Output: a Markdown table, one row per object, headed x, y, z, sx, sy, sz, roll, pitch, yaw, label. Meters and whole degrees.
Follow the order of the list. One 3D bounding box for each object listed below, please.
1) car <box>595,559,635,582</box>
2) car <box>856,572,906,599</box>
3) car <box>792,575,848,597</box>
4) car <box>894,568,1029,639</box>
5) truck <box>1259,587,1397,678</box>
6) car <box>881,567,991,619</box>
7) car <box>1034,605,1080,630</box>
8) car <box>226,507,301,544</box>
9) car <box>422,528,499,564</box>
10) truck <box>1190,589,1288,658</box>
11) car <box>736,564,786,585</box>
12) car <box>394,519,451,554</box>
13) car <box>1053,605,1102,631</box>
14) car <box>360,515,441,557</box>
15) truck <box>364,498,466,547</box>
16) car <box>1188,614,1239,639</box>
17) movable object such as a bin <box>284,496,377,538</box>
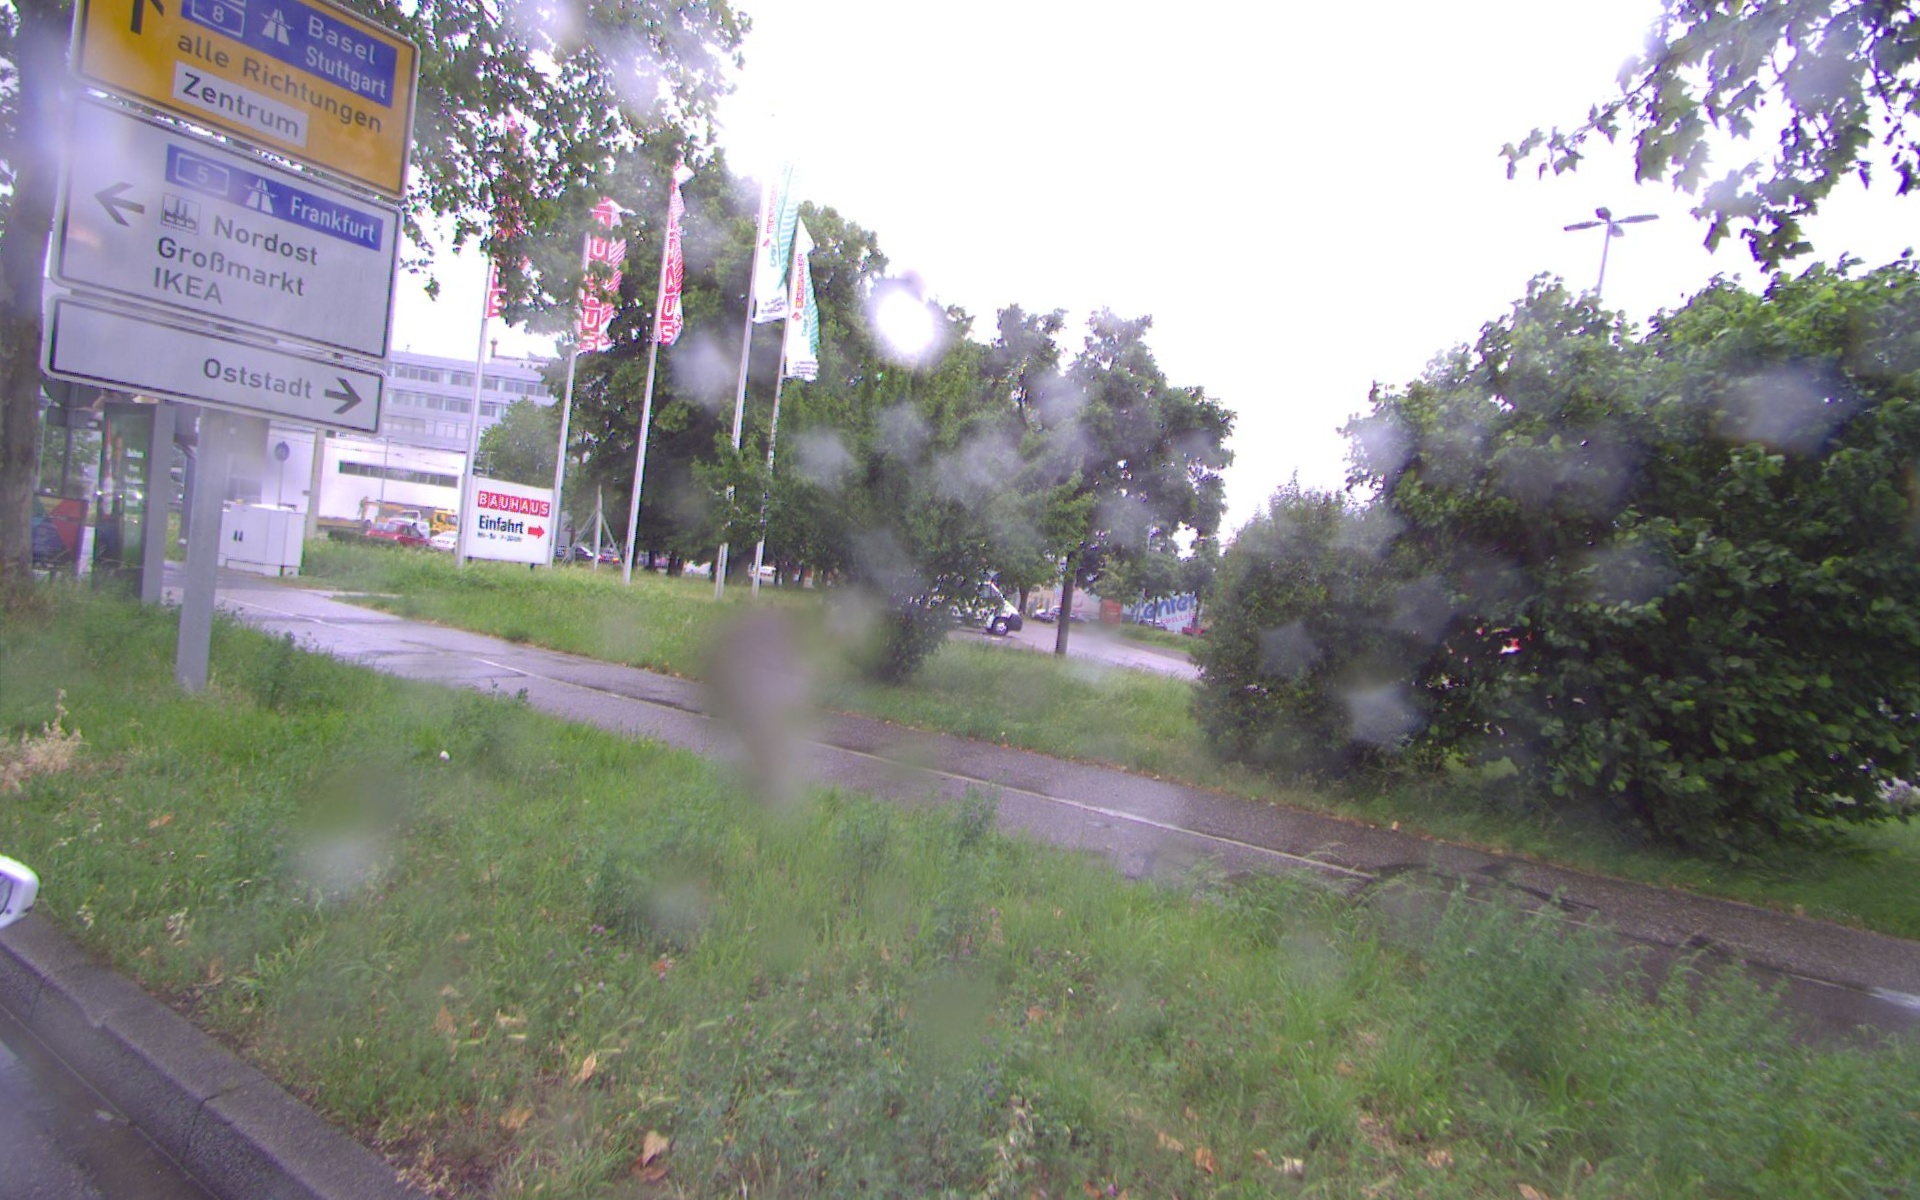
| x | y | z | sx | sy | sz | roll | pitch | yaw | label |
| --- | --- | --- | --- | --- | --- | --- | --- | --- | --- |
| -29.016 | -2.485 | 84.669 | 1.892 | 1.606 | 4.623 | 6 | 0 | -4 | car |
| -7.855 | -1.451 | 100.601 | 4.670 | 2.241 | 1.964 | 6 | 1 | -2 | car |
| -15.413 | -1.591 | 111.078 | 5.853 | 1.754 | 2.276 | 6 | 1 | -3 | car |
| 0.019 | 0.141 | 40.926 | 5.015 | 2.232 | 2.188 | 7 | 1 | -9 | car |
| 16.697 | 1.333 | 46.408 | 2.508 | 3.513 | 8.008 | 8 | 0 | -4 | truck |
| -1.395 | -0.412 | 57.651 | 5.955 | 2.232 | 2.190 | 7 | 1 | -2 | car |
| 10.310 | 1.863 | 106.993 | 4.612 | 2.038 | 2.001 | 7 | 0 | 3 | car |
| -44.733 | -4.740 | 64.706 | 1.709 | 1.746 | 4.245 | 8 | -1 | 0 | car |
| -27.654 | -2.953 | 55.890 | 1.892 | 1.509 | 4.828 | 6 | 0 | -2 | car |
| 16.517 | 1.329 | 60.318 | 2.507 | 3.511 | 9.397 | 8 | 0 | -2 | truck |
| -20.237 | -2.604 | 102.185 | 4.564 | 1.606 | 1.917 | 7 | 0 | -23 | car |
| -40.255 | -4.742 | 75.466 | 1.964 | 2.152 | 4.684 | 6 | 0 | -5 | car |
| 11.888 | 1.842 | 101.750 | 4.612 | 2.038 | 2.001 | 7 | 0 | 3 | car |
| -27.037 | -3.079 | 48.753 | 1.647 | 1.508 | 3.817 | 7 | -1 | 1 | car |
| -52.673 | -7.446 | 97.349 | 7.747 | 3.552 | 3.325 | 7 | 1 | -4 | truck |
| 26.409 | 2.755 | 104.917 | 4.613 | 2.039 | 1.999 | 7 | 1 | 1 | car |
| -60.588 | -7.932 | 97.027 | 6.601 | 3.034 | 3.324 | 7 | 1 | -4 | movable object such as a bin |
